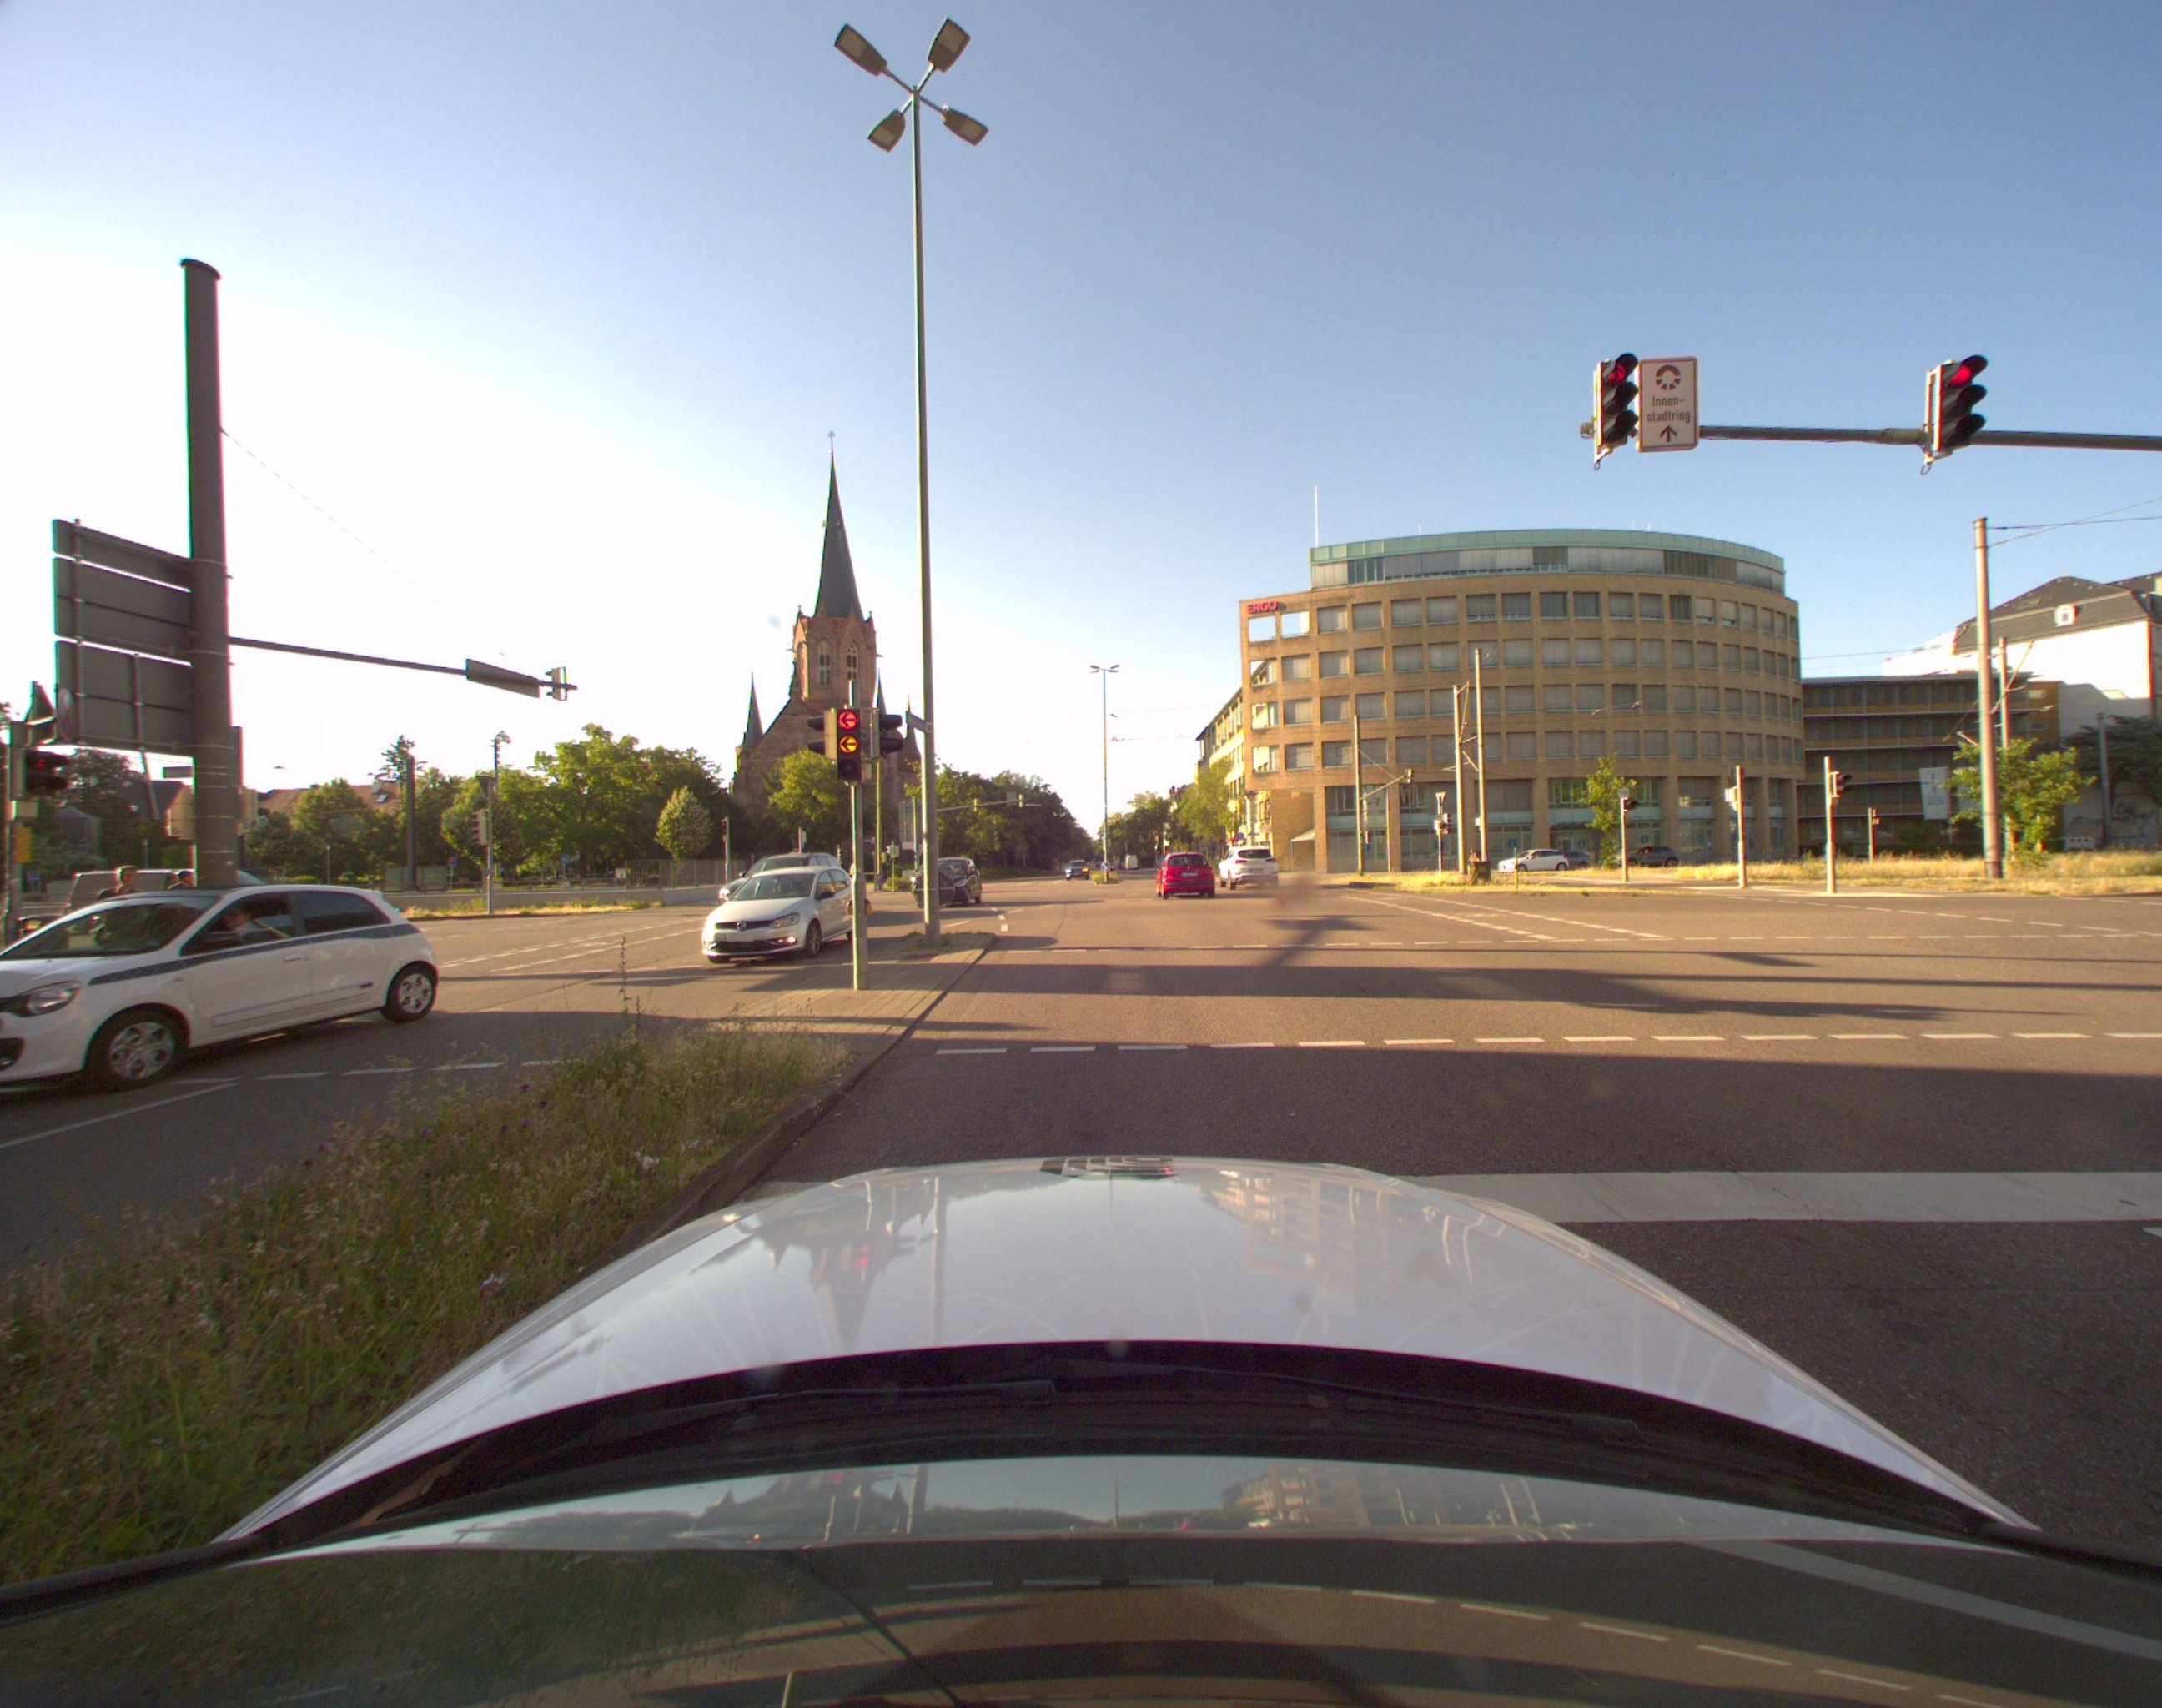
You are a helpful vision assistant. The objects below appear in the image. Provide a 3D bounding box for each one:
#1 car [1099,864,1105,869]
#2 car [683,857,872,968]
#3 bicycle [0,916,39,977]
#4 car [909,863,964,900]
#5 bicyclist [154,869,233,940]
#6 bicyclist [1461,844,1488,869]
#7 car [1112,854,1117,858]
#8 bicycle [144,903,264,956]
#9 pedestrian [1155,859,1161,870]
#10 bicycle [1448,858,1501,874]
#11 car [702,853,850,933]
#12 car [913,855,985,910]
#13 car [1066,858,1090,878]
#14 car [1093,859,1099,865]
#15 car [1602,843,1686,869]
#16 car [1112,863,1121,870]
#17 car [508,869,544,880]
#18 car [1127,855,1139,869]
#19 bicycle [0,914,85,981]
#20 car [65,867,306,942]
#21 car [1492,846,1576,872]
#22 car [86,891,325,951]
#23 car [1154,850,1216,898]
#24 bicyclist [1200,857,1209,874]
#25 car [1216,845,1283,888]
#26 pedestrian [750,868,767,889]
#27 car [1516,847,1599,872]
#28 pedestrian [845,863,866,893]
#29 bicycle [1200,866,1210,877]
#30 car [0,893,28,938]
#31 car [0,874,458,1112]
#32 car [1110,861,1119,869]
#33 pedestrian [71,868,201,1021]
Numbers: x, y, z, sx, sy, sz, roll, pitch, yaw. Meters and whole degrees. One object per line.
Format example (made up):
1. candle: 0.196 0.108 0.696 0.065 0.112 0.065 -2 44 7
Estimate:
1. car: 5.506 3.216 217.113 1.588 1.267 3.268 -2 0 2
2. car: -5.009 0.876 14.033 1.669 1.544 3.807 -3 0 2
3. bicycle: -19.547 1.656 13.825 0.732 1.051 2.300 -2 -1 1
4. car: -6.977 1.276 39.646 1.788 1.565 4.148 -2 1 1
5. bicyclist: -21.059 1.174 19.347 0.733 1.598 0.963 -3 0 1
6. bicyclist: 25.974 0.182 53.752 1.219 1.572 1.154 -2 -1 0
7. car: 10.547 0.678 254.863 1.588 1.267 3.268 -2 0 2
8. bicycle: -20.809 1.778 19.347 1.770 1.097 0.952 -3 0 1
9. pedestrian: 12.288 1.643 130.425 0.844 1.803 0.776 -2 0 1
10. bicycle: 25.945 0.782 53.741 2.951 1.000 1.154 -2 -1 -1
11. car: -7.697 0.896 21.123 1.809 1.711 4.788 -3 0 2
12. car: -4.201 0.858 26.340 1.572 1.544 3.478 -3 0 2
13. car: -0.211 1.260 72.875 1.986 1.724 5.031 -2 -1 1
14. car: 4.725 2.460 251.406 1.879 1.671 4.002 0 -1 2
15. car: 35.228 0.139 51.023 4.038 1.492 1.820 -2 -1 0
16. car: 6.706 2.419 153.671 1.588 1.267 3.268 -2 0 2
17. car: -91.699 3.401 134.523 4.450 1.571 1.993 -1 -1 -10
18. car: 9.157 1.364 144.444 1.986 2.440 4.002 0 -1 2
19. bicycle: -18.742 1.636 13.847 0.732 1.051 2.300 -2 0 1
20. car: -26.747 1.465 24.475 4.908 2.014 1.999 -2 -1 -1
21. car: 28.349 0.328 51.033 4.150 1.492 1.994 -2 -1 -1
22. car: -22.685 1.709 21.226 4.175 1.313 1.800 -2 -1 -1
23. car: 3.393 0.637 27.137 1.663 1.462 4.001 0 -1 2
24. bicyclist: 9.962 0.902 65.572 0.590 1.369 0.930 0 -1 2
25. car: 6.659 0.496 32.647 1.909 1.607 4.271 0 -1 2
26. pedestrian: -25.721 1.954 64.957 1.006 1.696 0.848 -1 -1 13
27. car: 32.756 0.382 56.059 4.464 1.537 1.987 -2 -1 2
28. pedestrian: -13.404 1.426 48.428 0.962 1.739 0.812 -1 -1 0
29. bicycle: 9.960 1.405 65.568 0.590 0.943 1.979 0 -1 2
30. car: -35.085 1.951 24.672 3.889 1.374 1.800 -2 -1 -1
31. car: -8.013 1.055 7.505 1.670 1.544 3.637 -3 0 0
32. car: 5.753 1.878 139.498 1.588 1.267 3.268 -2 0 2
33. pedestrian: -11.672 1.079 10.088 0.605 1.787 0.813 1 0 5
